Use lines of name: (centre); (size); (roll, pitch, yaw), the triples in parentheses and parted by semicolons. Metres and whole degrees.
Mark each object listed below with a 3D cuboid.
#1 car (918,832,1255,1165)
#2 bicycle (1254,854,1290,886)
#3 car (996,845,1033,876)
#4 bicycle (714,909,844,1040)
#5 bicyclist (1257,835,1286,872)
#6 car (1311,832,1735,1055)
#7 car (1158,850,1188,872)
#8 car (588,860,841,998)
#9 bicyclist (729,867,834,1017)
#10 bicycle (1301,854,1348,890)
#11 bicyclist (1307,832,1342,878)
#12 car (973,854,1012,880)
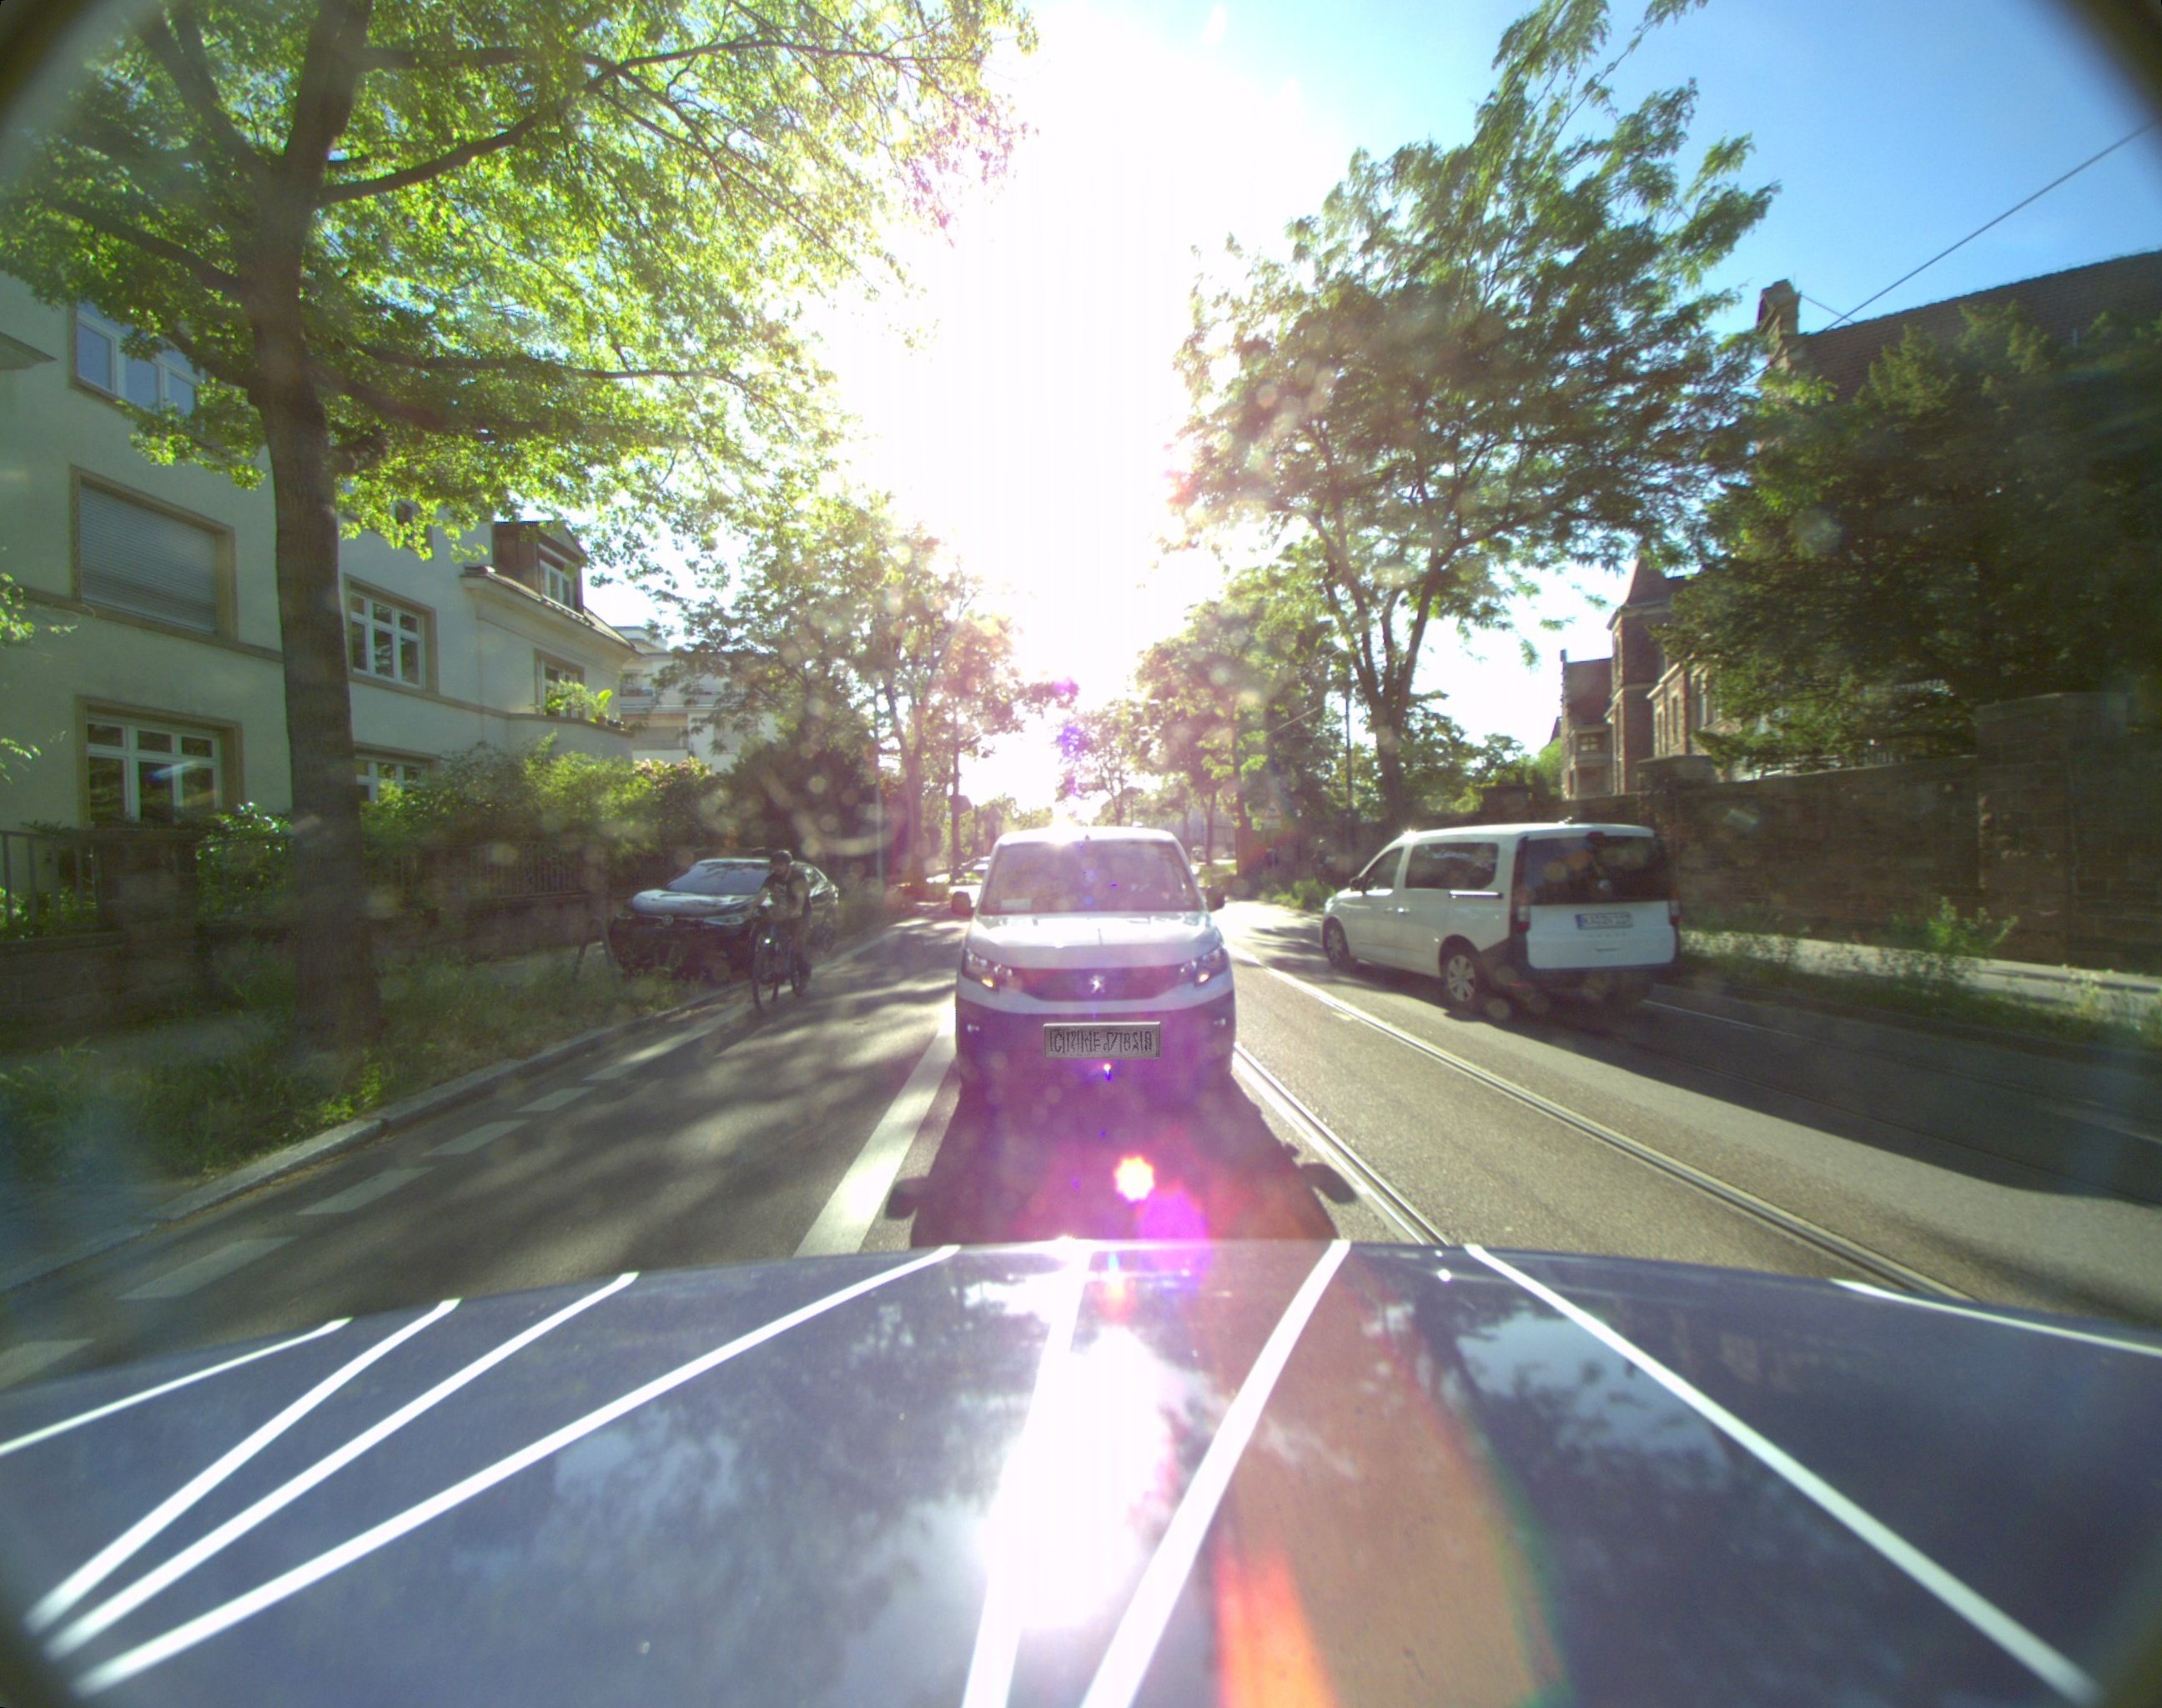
car: (0.048, 0.783, 6.536); (1.793, 1.770, 4.786); (-2, 0, 0)
bicycle: (7.545, 0.610, 30.077); (0.687, 1.083, 1.852); (-2, 4, -10)
car: (-4.500, 0.427, 51.930); (1.998, 2.002, 4.583); (-2, 0, 1)
bicycle: (-3.223, 1.240, 8.304); (0.644, 1.137, 1.815); (-1, 0, 1)
bicyclist: (7.528, -0.015, 30.086); (0.655, 1.451, 1.151); (-2, 1, -10)
car: (4.321, 0.709, 8.374); (1.832, 1.777, 4.251); (-1, 1, -7)
car: (7.016, 0.518, 58.265); (1.822, 1.597, 4.359); (-2, 0, 1)
car: (-5.168, 0.942, 11.409); (1.743, 1.597, 4.091); (2, 0, 0)
bicyclist: (-3.229, 0.907, 8.279); (0.623, 1.479, 1.115); (-2, 1, 1)
bicycle: (7.821, 0.566, 24.457); (0.686, 1.082, 2.063); (-2, 0, -4)
bicyclist: (7.806, 0.030, 24.441); (0.655, 1.451, 1.151); (-2, 1, -5)
car: (-5.252, 0.749, 45.464); (1.787, 1.443, 4.000); (-2, 0, 1)
